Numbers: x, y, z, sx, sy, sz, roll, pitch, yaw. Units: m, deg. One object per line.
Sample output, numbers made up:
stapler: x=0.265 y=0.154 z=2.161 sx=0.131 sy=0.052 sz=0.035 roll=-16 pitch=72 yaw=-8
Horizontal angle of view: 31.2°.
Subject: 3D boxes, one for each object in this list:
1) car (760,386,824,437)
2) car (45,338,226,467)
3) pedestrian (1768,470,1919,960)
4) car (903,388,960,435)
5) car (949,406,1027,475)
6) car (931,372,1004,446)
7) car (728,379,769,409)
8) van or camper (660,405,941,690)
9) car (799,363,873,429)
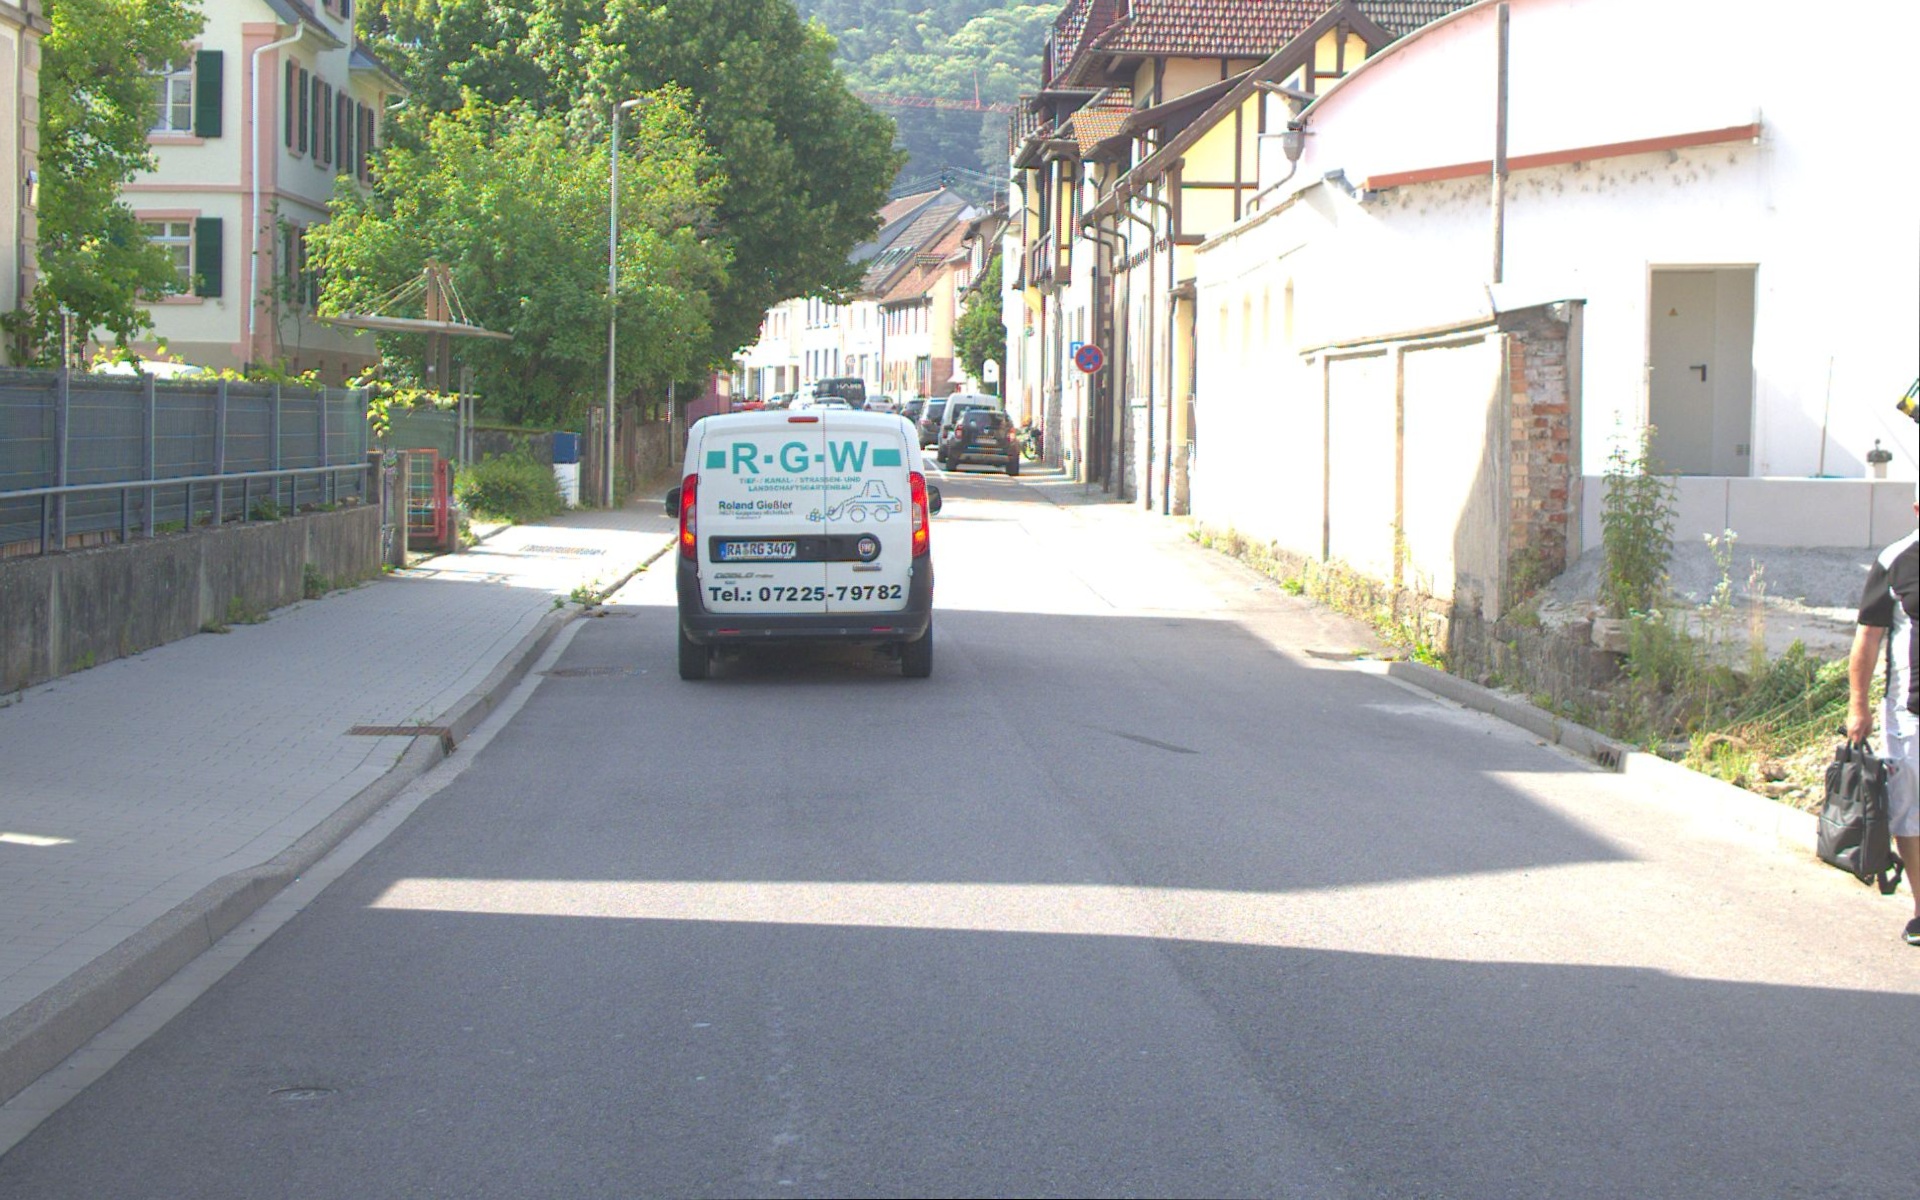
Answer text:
car: x=-9.537 y=-10.692 z=194.412 sx=2.874 sy=2.825 sz=6.127 roll=-1 pitch=4 yaw=-10
car: x=-12.538 y=-3.041 z=52.548 sx=1.822 sy=1.766 sz=4.684 roll=4 pitch=3 yaw=-4
pedestrian: x=3.439 y=0.395 z=12.194 sx=0.888 sy=1.677 sz=0.718 roll=2 pitch=2 yaw=-2
car: x=-0.963 y=-6.289 z=114.306 sx=1.669 sy=1.502 sz=4.001 roll=-1 pitch=4 yaw=-4
car: x=0.696 y=-4.098 z=87.826 sx=1.810 sy=1.591 sz=3.928 roll=2 pitch=4 yaw=-2
car: x=0.181 y=-5.450 z=97.859 sx=1.871 sy=2.006 sz=4.001 roll=1 pitch=4 yaw=-2
car: x=-12.763 y=-12.414 z=207.338 sx=1.771 sy=1.792 sz=4.002 roll=0 pitch=4 yaw=-13
van or camper: x=-1.158 y=-0.466 z=24.987 sx=1.828 sy=1.838 sz=4.190 roll=-1 pitch=4 yaw=-3
car: x=-3.201 y=-5.289 z=88.818 sx=1.810 sy=1.591 sz=3.928 roll=2 pitch=4 yaw=-2
